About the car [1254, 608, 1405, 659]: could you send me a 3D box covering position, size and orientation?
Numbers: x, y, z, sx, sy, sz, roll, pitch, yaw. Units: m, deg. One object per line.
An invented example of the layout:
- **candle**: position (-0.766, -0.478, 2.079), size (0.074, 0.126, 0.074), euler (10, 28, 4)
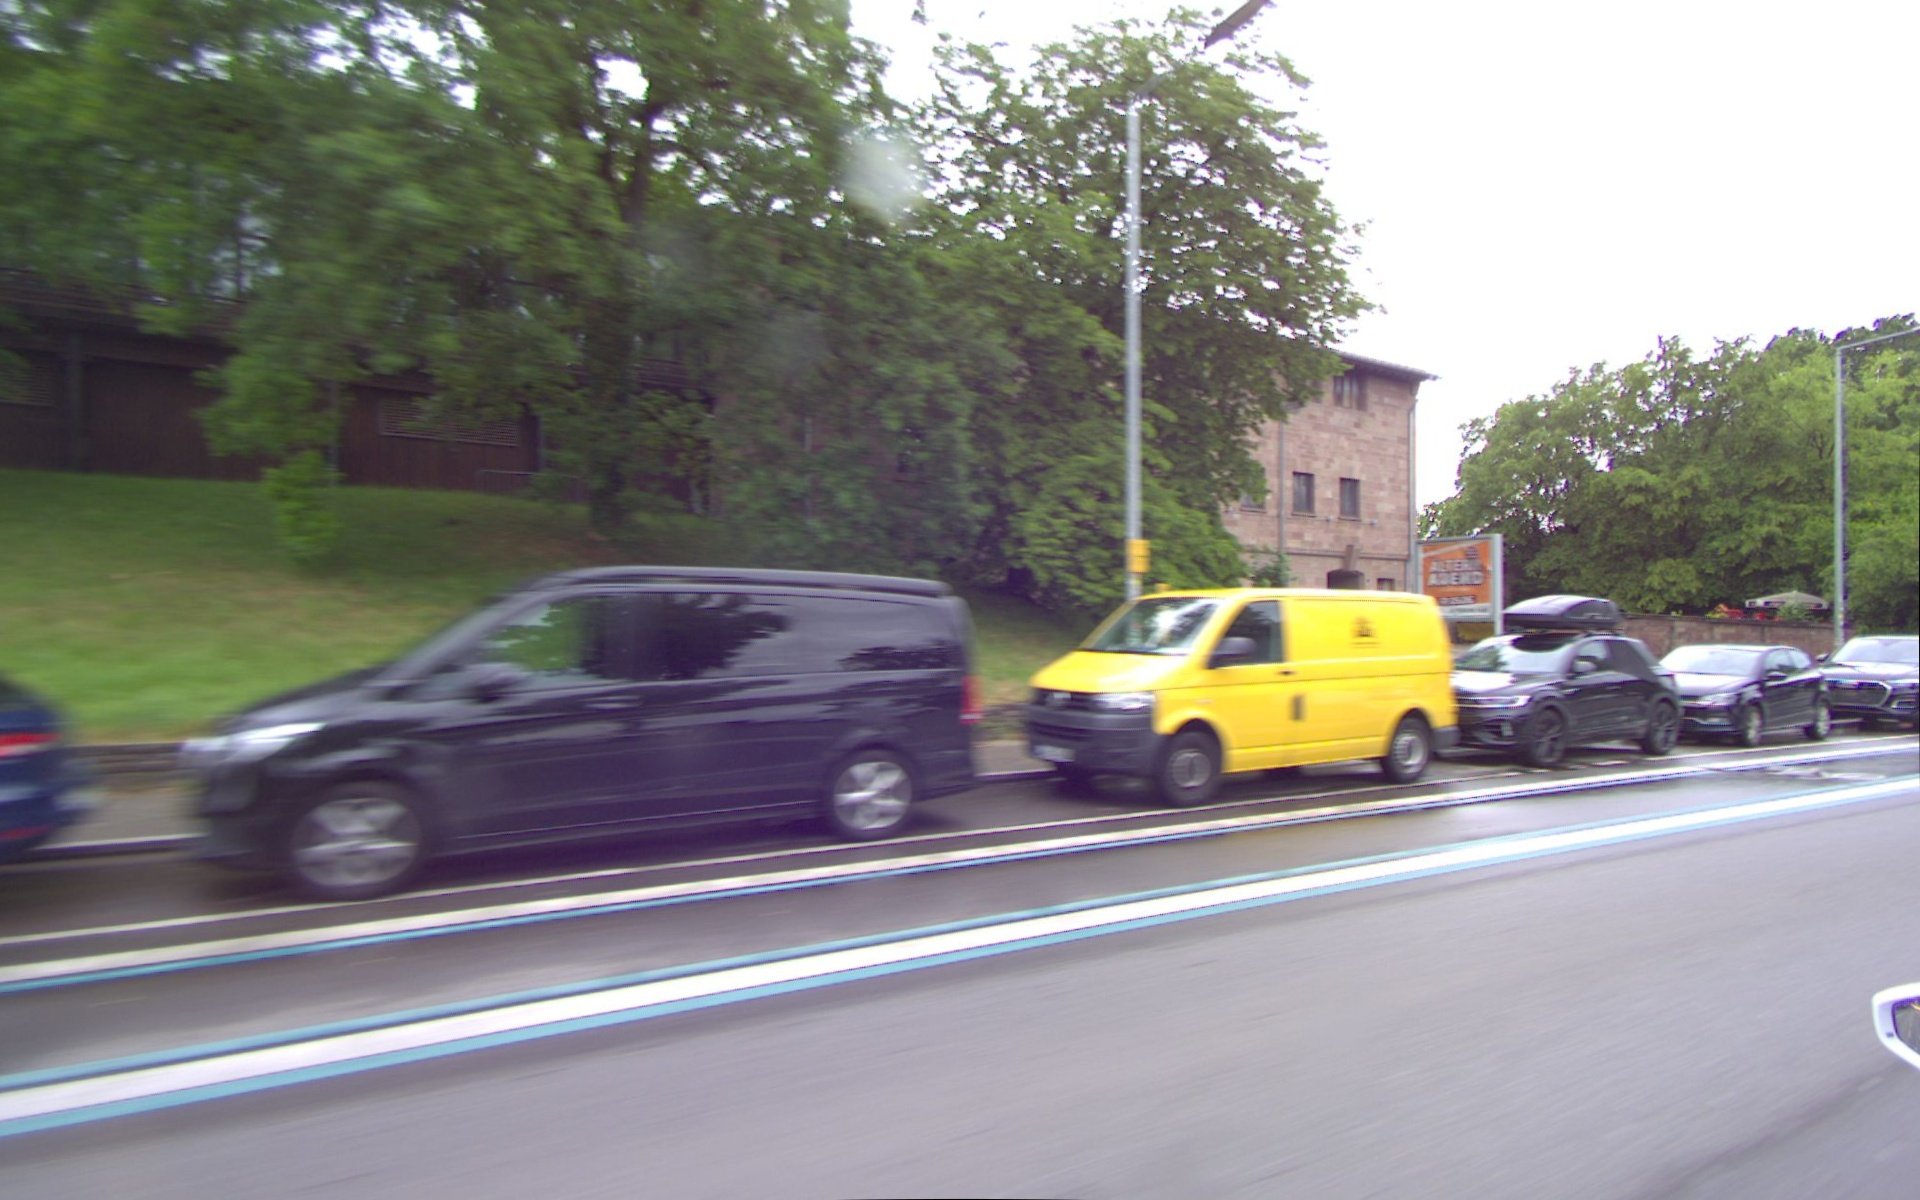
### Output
- **car**: position (12.410, 1.111, 33.974), size (2.238, 1.451, 4.279), euler (2, 1, -32)

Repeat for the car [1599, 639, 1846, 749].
- **car**: position (11.671, 1.350, 15.322), size (3.990, 1.465, 1.601), euler (1, -2, -30)

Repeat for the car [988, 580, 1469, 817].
- **car**: position (2.830, 0.885, 10.305), size (4.787, 1.938, 1.985), euler (1, -2, -30)

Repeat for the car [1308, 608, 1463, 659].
- **car**: position (14.990, 1.124, 35.680), size (2.164, 1.499, 4.748), euler (1, 1, -30)

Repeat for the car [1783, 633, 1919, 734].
- **car**: position (17.271, 1.451, 18.498), size (4.608, 1.637, 1.815), euler (1, -2, -30)

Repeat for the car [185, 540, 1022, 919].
- **car**: position (-2.199, 0.744, 7.283), size (5.143, 1.945, 1.868), euler (1, -2, -30)

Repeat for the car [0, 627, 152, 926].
- **car**: position (-6.841, 0.852, 4.675), size (4.558, 1.478, 1.675), euler (1, -2, -31)

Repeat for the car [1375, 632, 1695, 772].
- **car**: position (7.413, 1.199, 12.890), size (4.099, 1.524, 1.702), euler (1, -2, -29)
